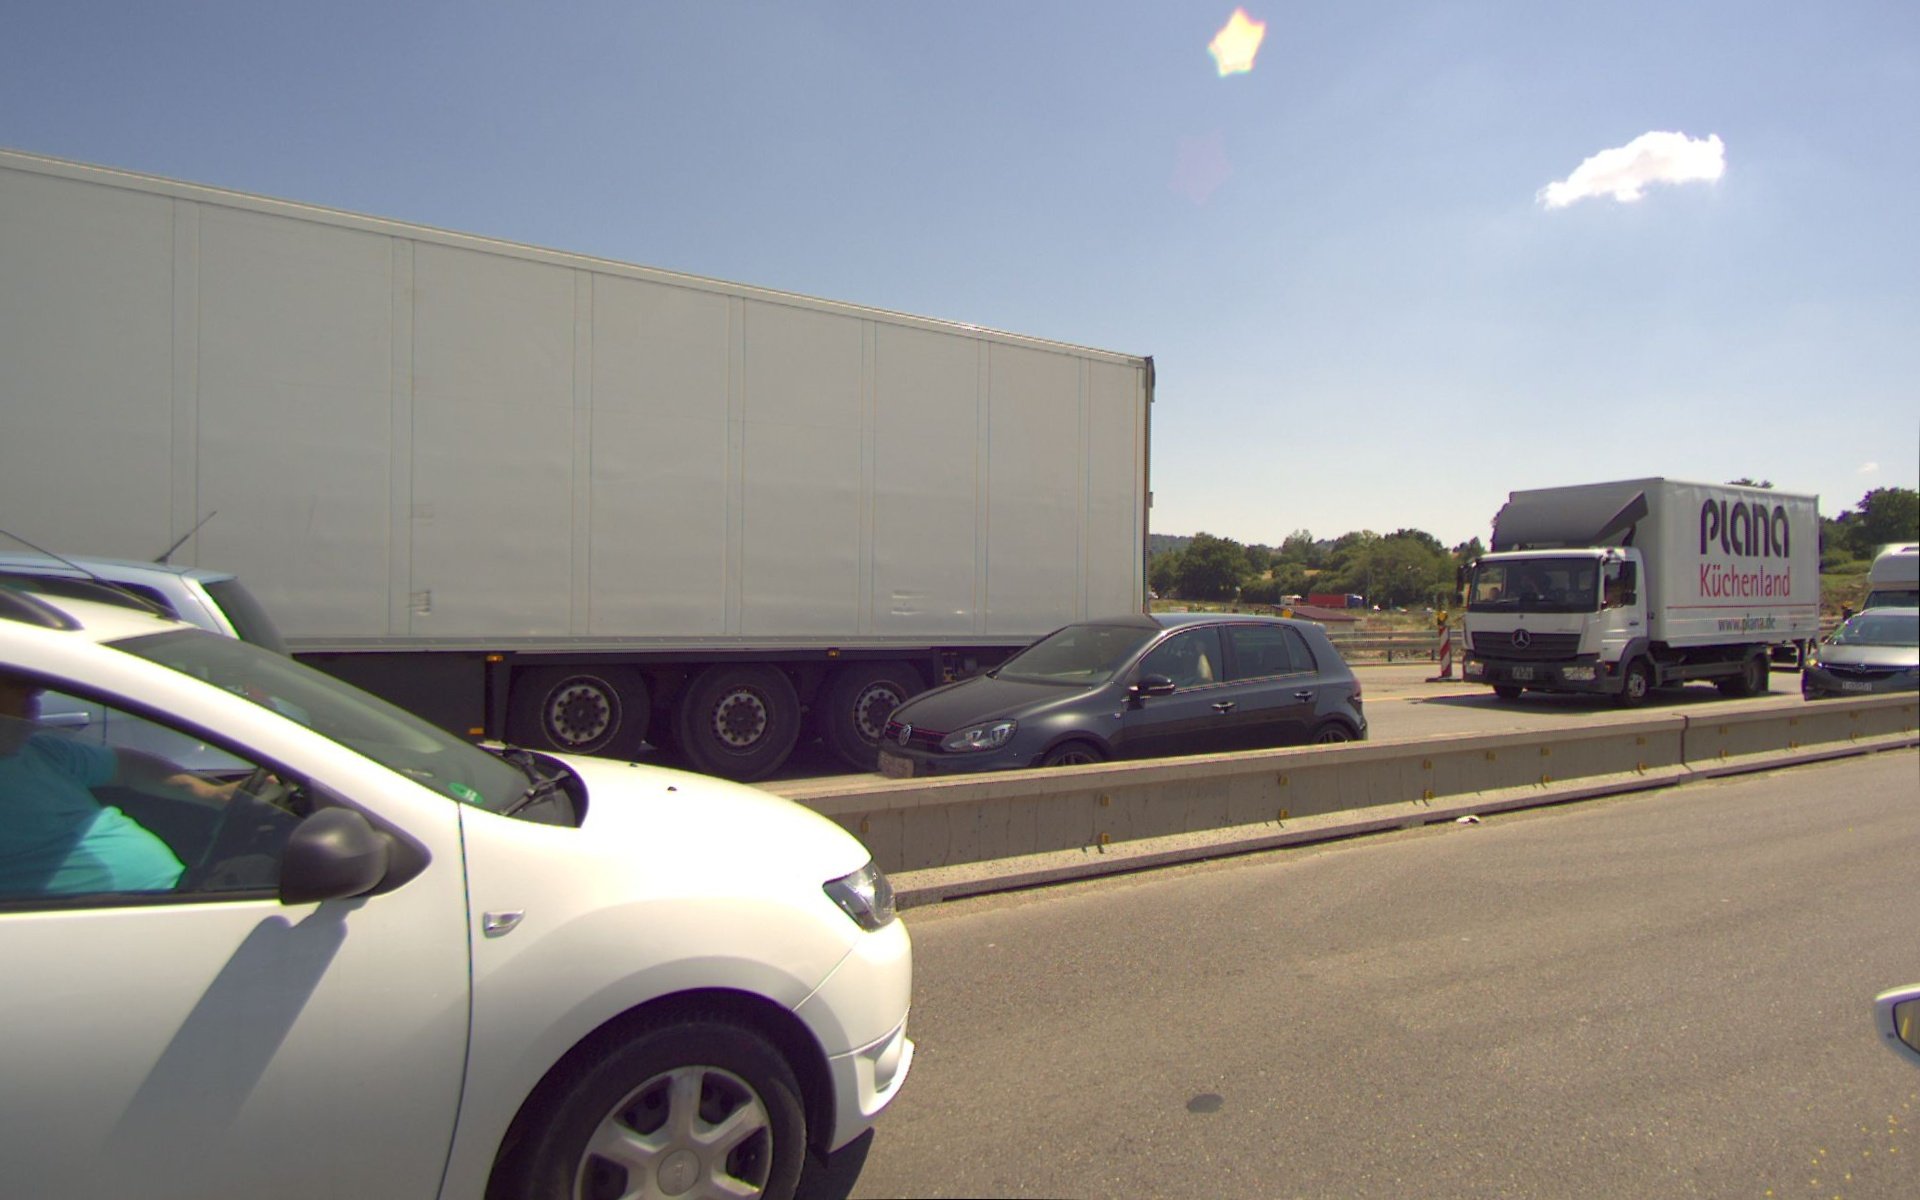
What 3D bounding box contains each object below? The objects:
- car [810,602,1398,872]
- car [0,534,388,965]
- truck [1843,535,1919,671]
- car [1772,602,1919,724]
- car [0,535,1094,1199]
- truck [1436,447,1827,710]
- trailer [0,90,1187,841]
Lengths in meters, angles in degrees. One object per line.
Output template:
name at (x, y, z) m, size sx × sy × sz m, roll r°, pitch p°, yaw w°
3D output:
car at (1.200, 0.815, 7.850) m, size 4.288 × 1.577 × 1.983 m, roll 0°, pitch 0°, yaw -31°
car at (-4.638, 0.534, 4.110) m, size 3.954 × 1.595 × 1.818 m, roll 2°, pitch -1°, yaw -31°
truck at (25.241, 0.057, 25.458) m, size 6.944 × 3.190 × 2.421 m, roll 0°, pitch 0°, yaw -32°
car at (15.034, 0.913, 15.985) m, size 4.493 × 1.673 × 1.818 m, roll 1°, pitch 1°, yaw -31°
car at (-2.108, 0.671, 2.147) m, size 4.653 × 1.550 × 1.809 m, roll 2°, pitch -1°, yaw -31°
truck at (12.404, -0.287, 18.219) m, size 8.572 × 3.907 × 2.512 m, roll 1°, pitch 0°, yaw -31°
trailer at (-4.317, -0.726, 8.137) m, size 13.785 × 4.264 × 2.971 m, roll 1°, pitch 0°, yaw -31°
